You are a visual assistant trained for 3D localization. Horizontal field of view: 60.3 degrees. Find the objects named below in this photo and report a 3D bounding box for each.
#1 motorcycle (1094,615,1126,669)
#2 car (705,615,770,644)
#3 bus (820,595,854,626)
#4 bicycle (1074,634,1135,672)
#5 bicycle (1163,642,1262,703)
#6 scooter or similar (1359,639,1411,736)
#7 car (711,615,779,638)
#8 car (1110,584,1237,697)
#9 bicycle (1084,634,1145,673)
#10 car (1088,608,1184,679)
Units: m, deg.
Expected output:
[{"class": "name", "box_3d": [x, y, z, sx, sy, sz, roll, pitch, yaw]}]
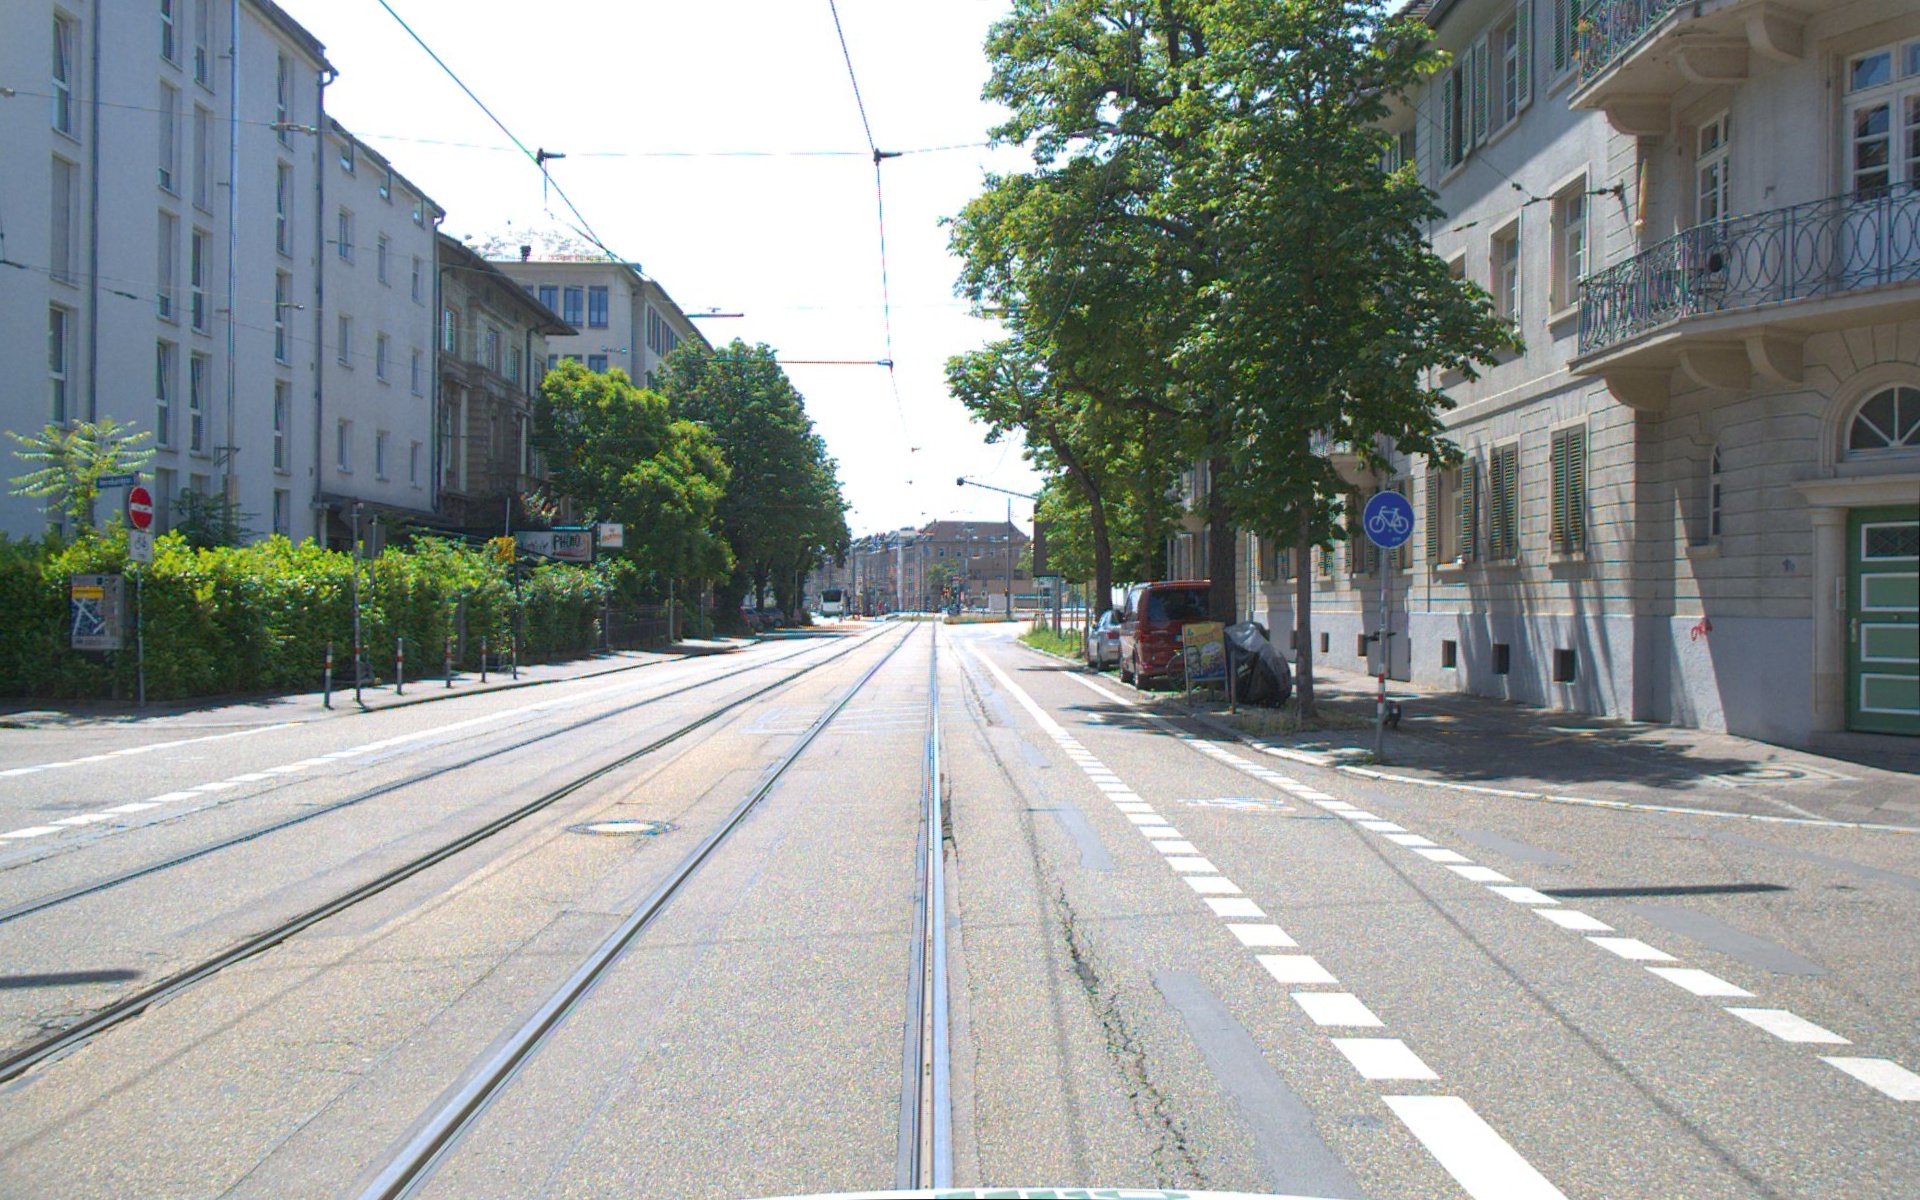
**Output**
[{"class": "motorcycle", "box_3d": [4.432, 1.219, 48.678, 0.729, 1.532, 2.560, 0, -1, 10]}, {"class": "car", "box_3d": [-12.746, 1.690, 94.739, 3.301, 1.542, 1.655, 2, -1, -27]}, {"class": "bus", "box_3d": [-14.280, 1.335, 193.408, 2.949, 3.213, 17.491, 1, -2, -1]}, {"class": "bicycle", "box_3d": [3.963, 1.458, 45.333, 1.624, 1.033, 0.371, 0, -3, 0]}, {"class": "bicycle", "box_3d": [4.377, 1.257, 28.706, 1.664, 1.039, 0.364, 0, -1, -7]}, {"class": "scooter or similar", "box_3d": [5.341, 1.083, 20.830, 0.289, 1.181, 1.251, 1, -1, -2]}, {"class": "car", "box_3d": [-13.239, 1.638, 102.022, 3.874, 1.398, 1.655, 0, -1, -27]}, {"class": "car", "box_3d": [4.145, 0.768, 32.846, 1.821, 2.049, 4.975, 1, -1, 0]}, {"class": "bicycle", "box_3d": [4.185, 1.444, 44.778, 1.624, 1.033, 0.371, 1, -1, -1]}, {"class": "car", "box_3d": [4.237, 1.088, 40.544, 1.821, 1.605, 4.876, 1, -2, 0]}]
